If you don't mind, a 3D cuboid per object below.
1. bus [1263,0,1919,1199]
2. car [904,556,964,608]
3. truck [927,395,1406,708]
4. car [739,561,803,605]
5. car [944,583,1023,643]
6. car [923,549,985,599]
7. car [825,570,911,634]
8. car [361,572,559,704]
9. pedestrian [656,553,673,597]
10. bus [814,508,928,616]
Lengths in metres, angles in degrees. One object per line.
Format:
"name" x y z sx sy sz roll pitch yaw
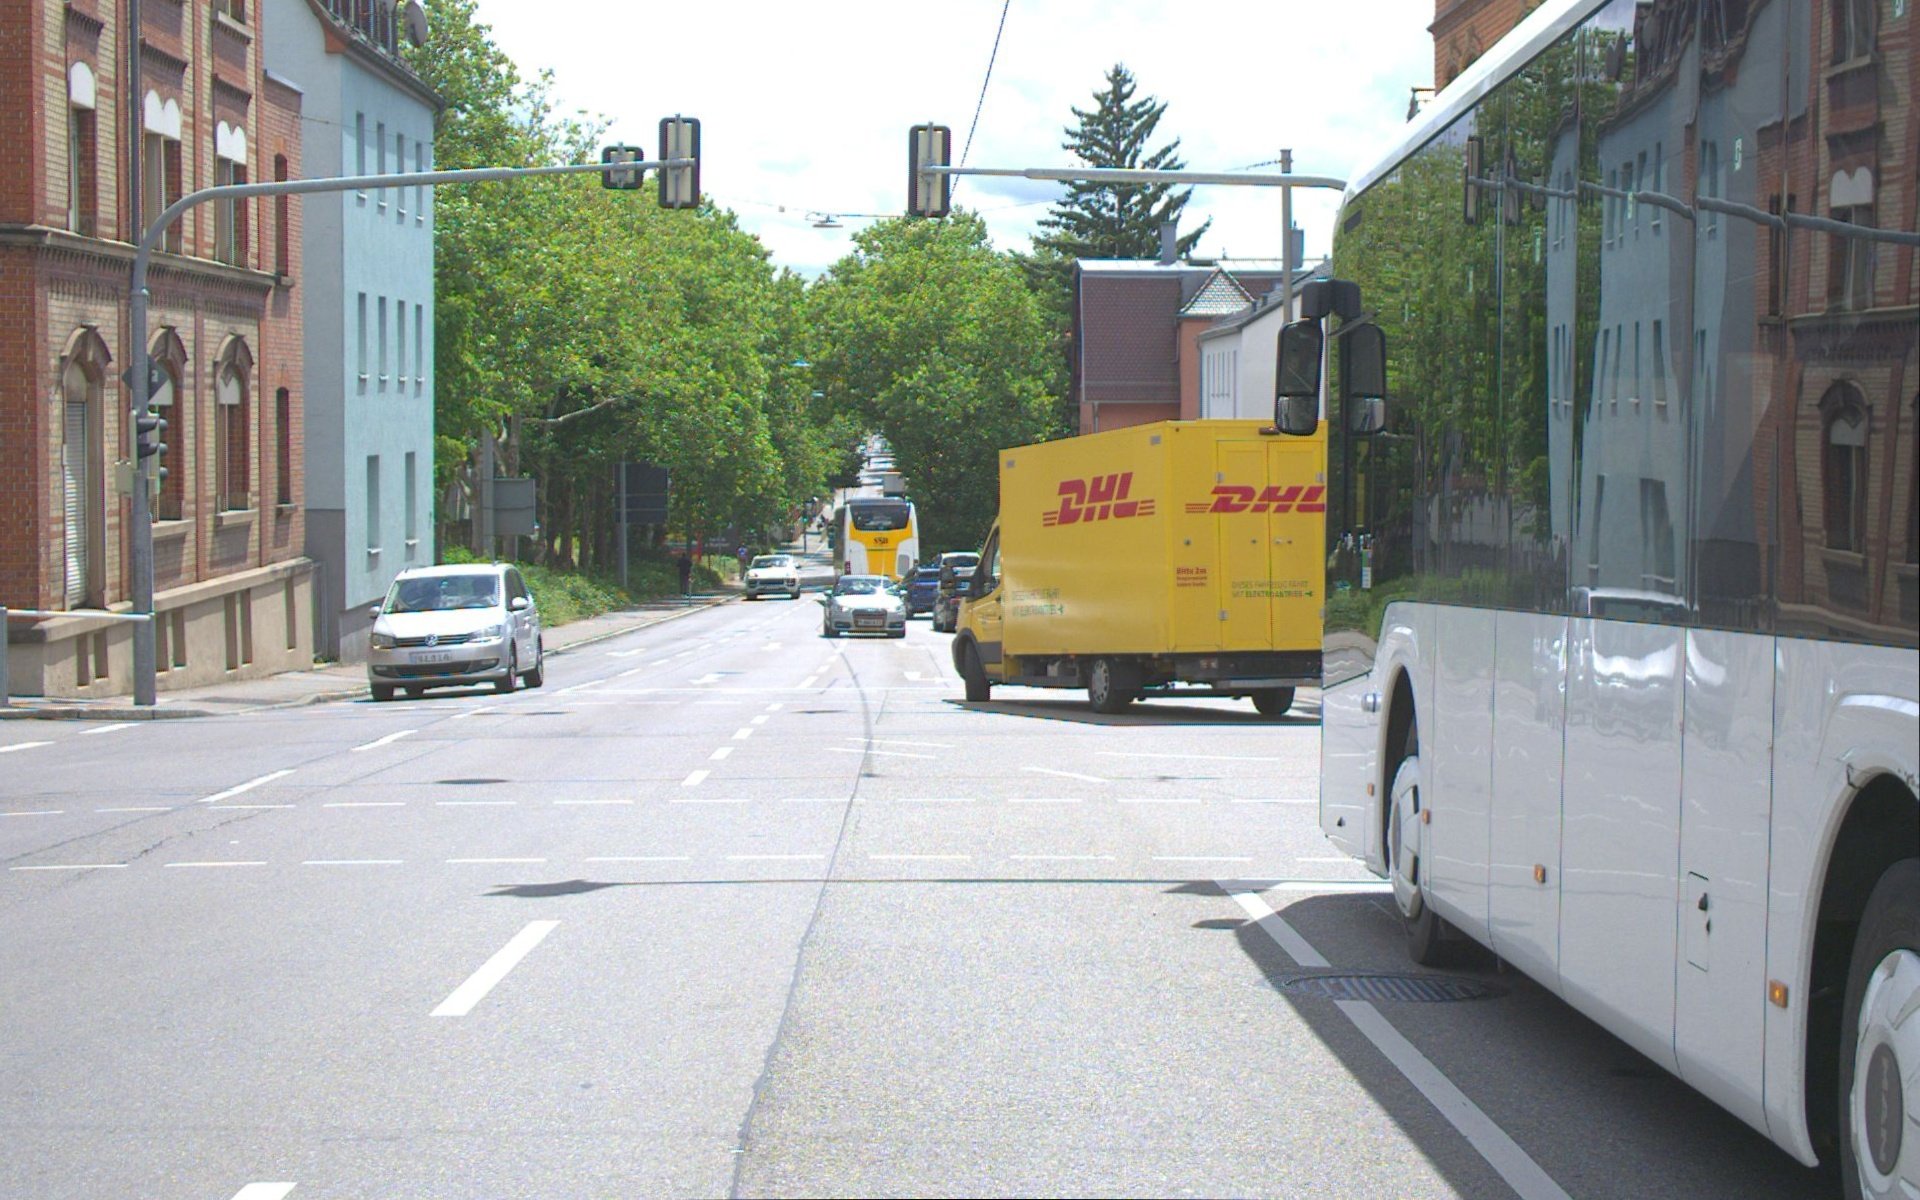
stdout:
"bus" 2.924 -0.332 9.338 2.904 3.498 12.488 1 1 -1
"car" -0.726 -0.500 94.682 1.608 1.371 4.000 0 1 -1
"truck" 1.939 -0.481 35.439 2.540 2.903 6.574 1 1 -19
"car" -7.159 -0.678 130.734 2.207 1.607 4.547 -1 1 -1
"car" 0.550 0.304 84.335 1.865 1.363 4.547 -1 1 -1
"car" -0.250 -0.992 129.365 2.091 1.824 4.143 0 1 -4
"car" -2.065 0.032 78.188 1.865 1.363 4.547 -1 1 -1
"car" -6.356 0.443 44.156 1.935 1.558 4.389 -1 1 -1
"pedestrian" -11.746 -0.992 136.527 0.606 1.752 0.654 -1 1 -2
"bus" -3.233 -1.363 121.390 3.300 3.618 11.246 -1 1 -5
